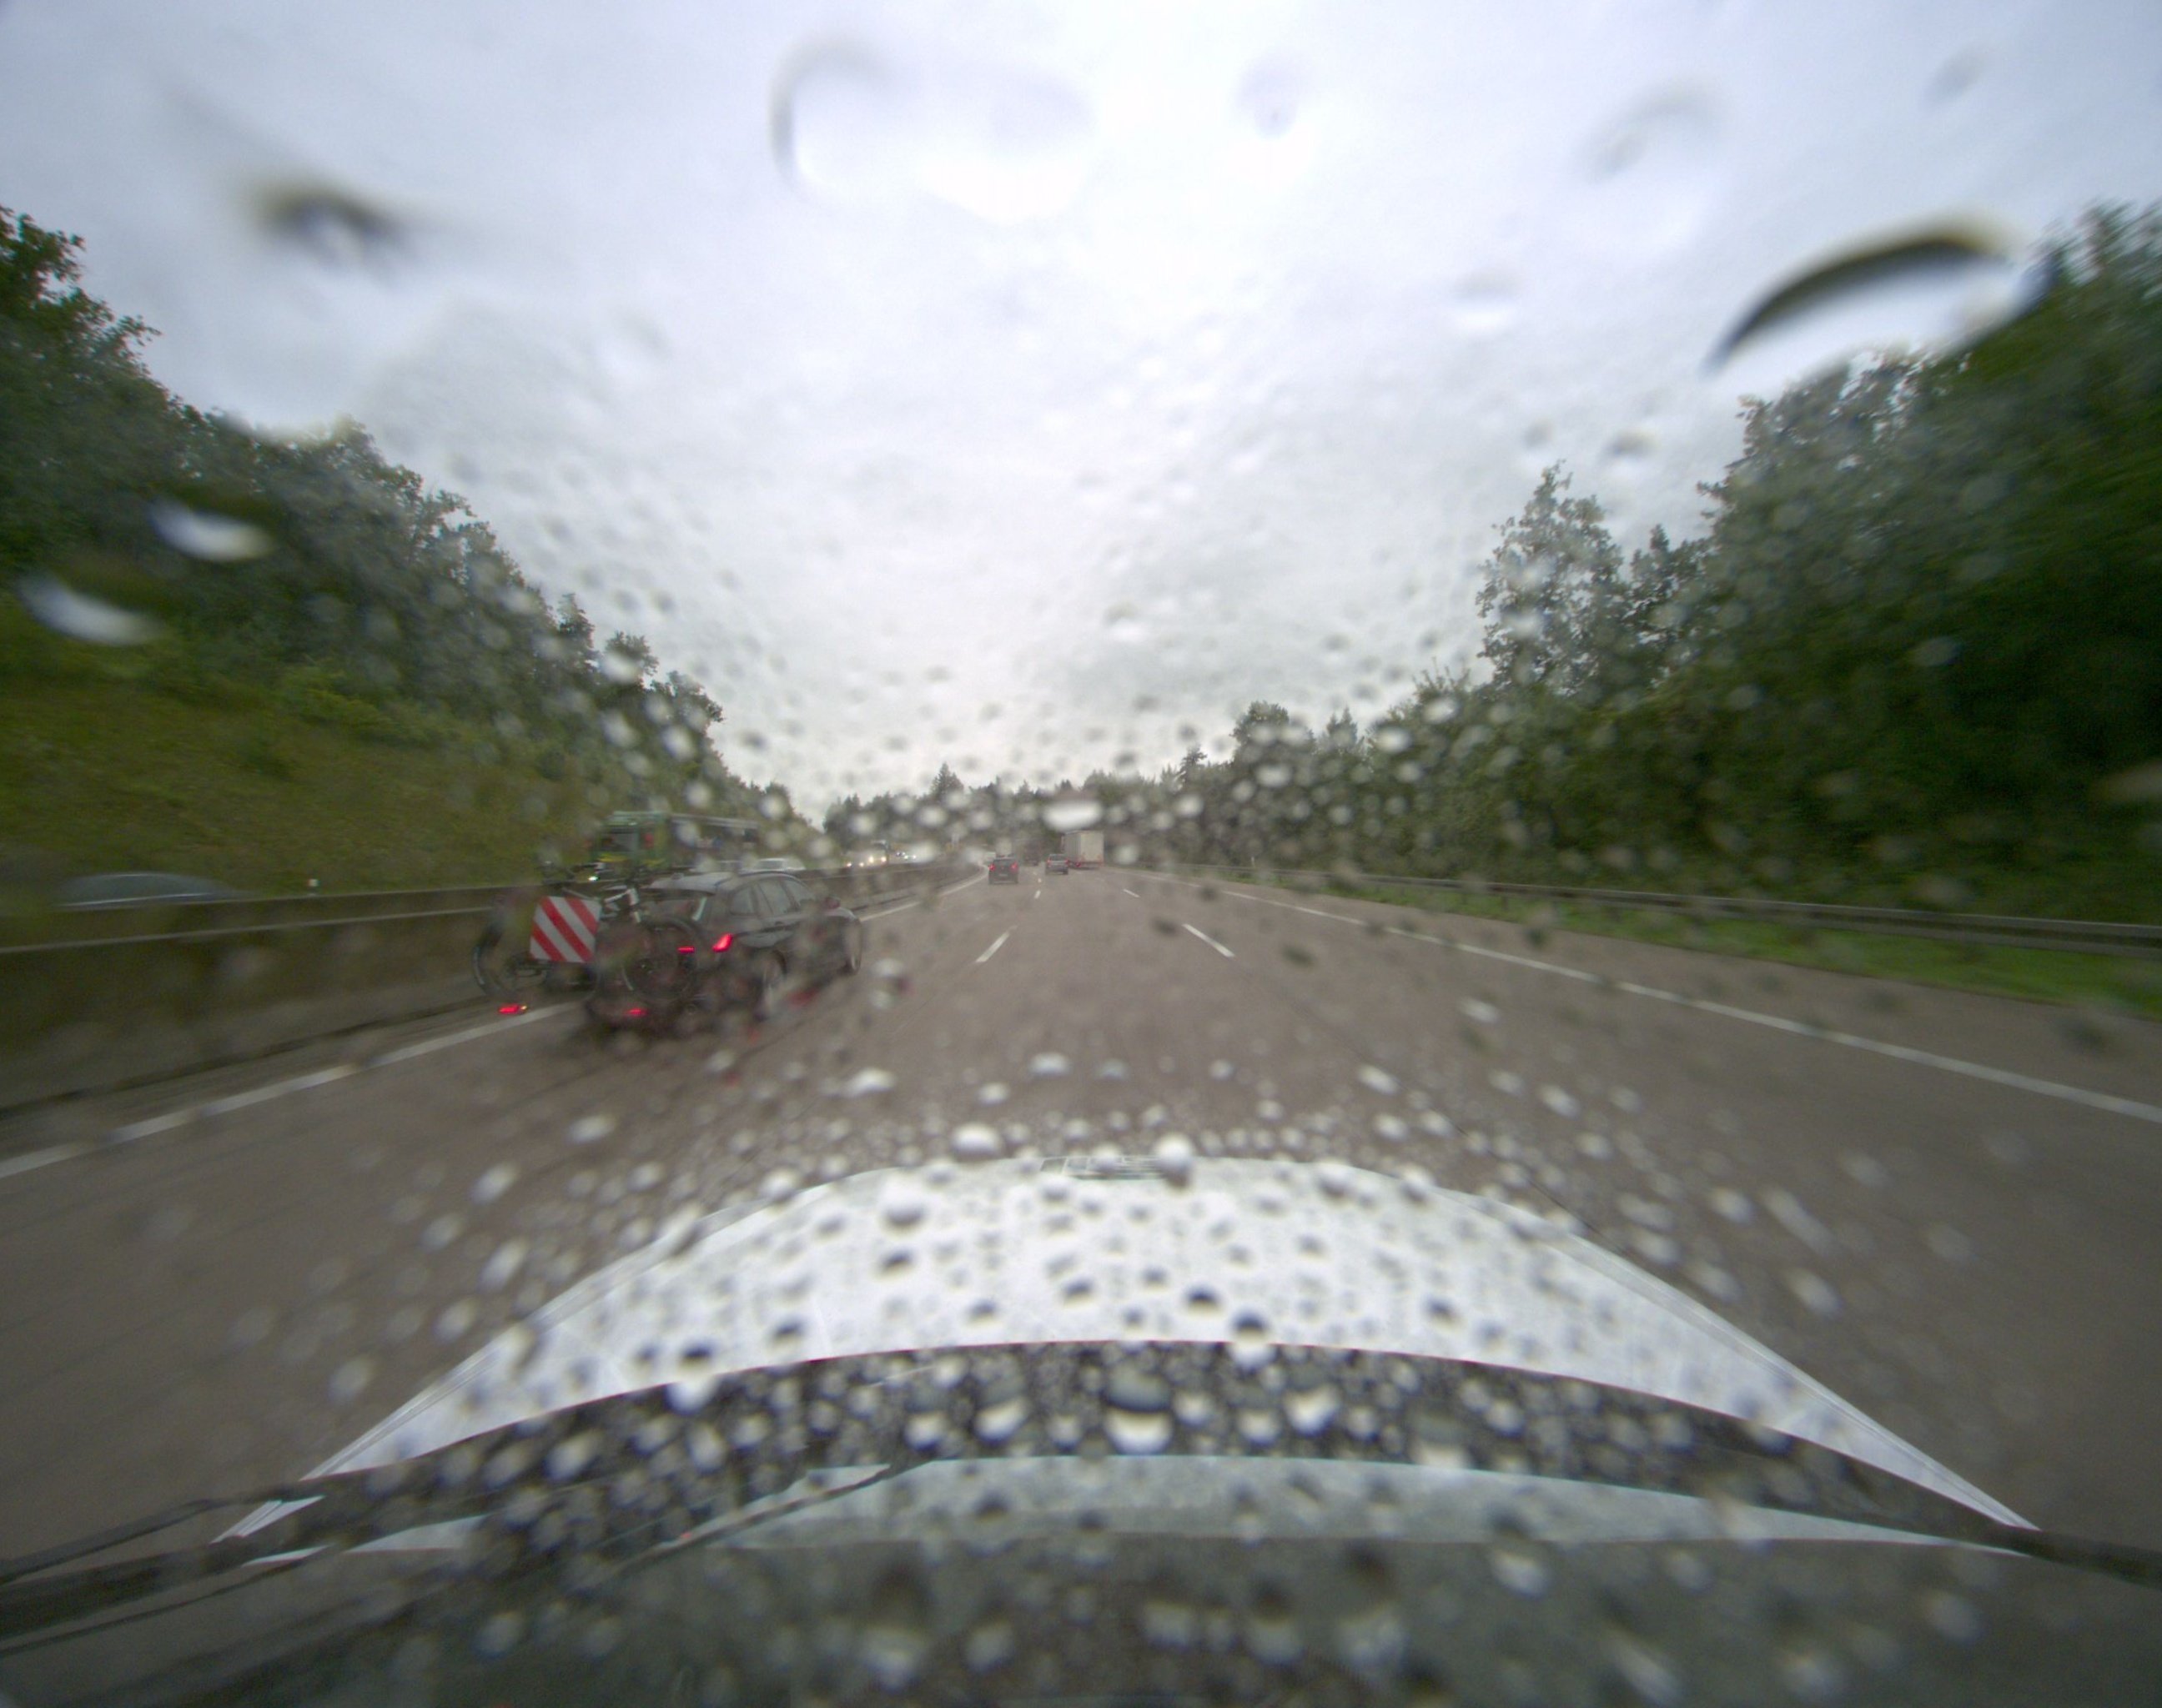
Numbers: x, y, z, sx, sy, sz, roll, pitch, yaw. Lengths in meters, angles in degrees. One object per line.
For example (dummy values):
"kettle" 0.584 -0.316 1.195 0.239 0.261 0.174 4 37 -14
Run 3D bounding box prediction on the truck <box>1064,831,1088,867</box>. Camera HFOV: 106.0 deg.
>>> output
"truck" -0.598 -0.574 94.957 2.416 4.068 4.969 0 0 -5

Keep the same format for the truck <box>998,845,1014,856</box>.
"truck" -16.194 -0.763 174.498 2.973 2.309 6.647 2 0 -9

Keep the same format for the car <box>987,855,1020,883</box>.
"car" -4.334 0.816 45.936 1.680 1.462 3.680 1 0 -3

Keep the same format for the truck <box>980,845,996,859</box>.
"truck" -19.207 -0.461 168.124 3.081 2.905 7.880 0 1 -9

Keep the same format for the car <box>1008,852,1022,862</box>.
"car" -10.335 0.505 127.723 1.877 1.473 3.996 1 0 -2

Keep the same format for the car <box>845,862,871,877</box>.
"car" -23.729 1.632 86.682 1.726 1.493 3.996 -1 0 -2

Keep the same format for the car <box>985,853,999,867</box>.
"car" -13.072 0.827 119.991 1.721 2.013 3.653 -1 0 -2

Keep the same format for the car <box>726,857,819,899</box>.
"car" -12.733 0.934 33.967 1.987 1.585 4.771 -1 0 0

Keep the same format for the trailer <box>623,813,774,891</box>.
"trailer" -22.224 -0.073 48.673 2.919 3.960 13.455 -1 0 -2

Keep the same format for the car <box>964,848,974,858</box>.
"car" -22.705 -0.182 165.081 1.991 2.059 3.991 -1 0 -7

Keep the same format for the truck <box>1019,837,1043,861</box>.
"truck" -8.783 -0.891 143.027 3.367 4.131 10.407 0 0 -8

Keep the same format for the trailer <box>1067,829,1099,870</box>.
"trailer" 0.091 -0.476 87.403 2.416 4.068 12.033 0 0 -5

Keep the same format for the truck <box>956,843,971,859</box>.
"truck" -33.091 -0.778 229.851 3.743 4.210 6.789 -1 0 -12

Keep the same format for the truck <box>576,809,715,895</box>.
"truck" -22.054 -0.075 41.887 2.919 3.960 8.112 -1 0 -2

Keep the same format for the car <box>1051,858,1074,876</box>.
"car" -1.507 1.032 65.641 1.552 1.351 3.676 1 0 -6

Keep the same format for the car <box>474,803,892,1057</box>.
"car" -3.816 0.592 9.437 1.902 1.945 6.159 -1 0 -1

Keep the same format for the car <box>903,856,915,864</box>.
"car" -32.495 1.112 153.736 1.729 1.576 4.234 -1 0 -6

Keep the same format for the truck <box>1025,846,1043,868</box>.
"truck" -6.406 0.330 112.168 2.263 2.886 7.898 0 1 -2

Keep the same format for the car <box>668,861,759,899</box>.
"car" -16.861 1.129 37.633 1.987 1.585 4.771 -1 0 0

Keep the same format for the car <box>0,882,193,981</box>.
"car" -15.949 1.130 11.541 1.987 1.293 4.297 -1 0 0

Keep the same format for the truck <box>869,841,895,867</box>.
"truck" -30.837 -0.045 126.586 2.903 3.889 7.348 0 0 -6
